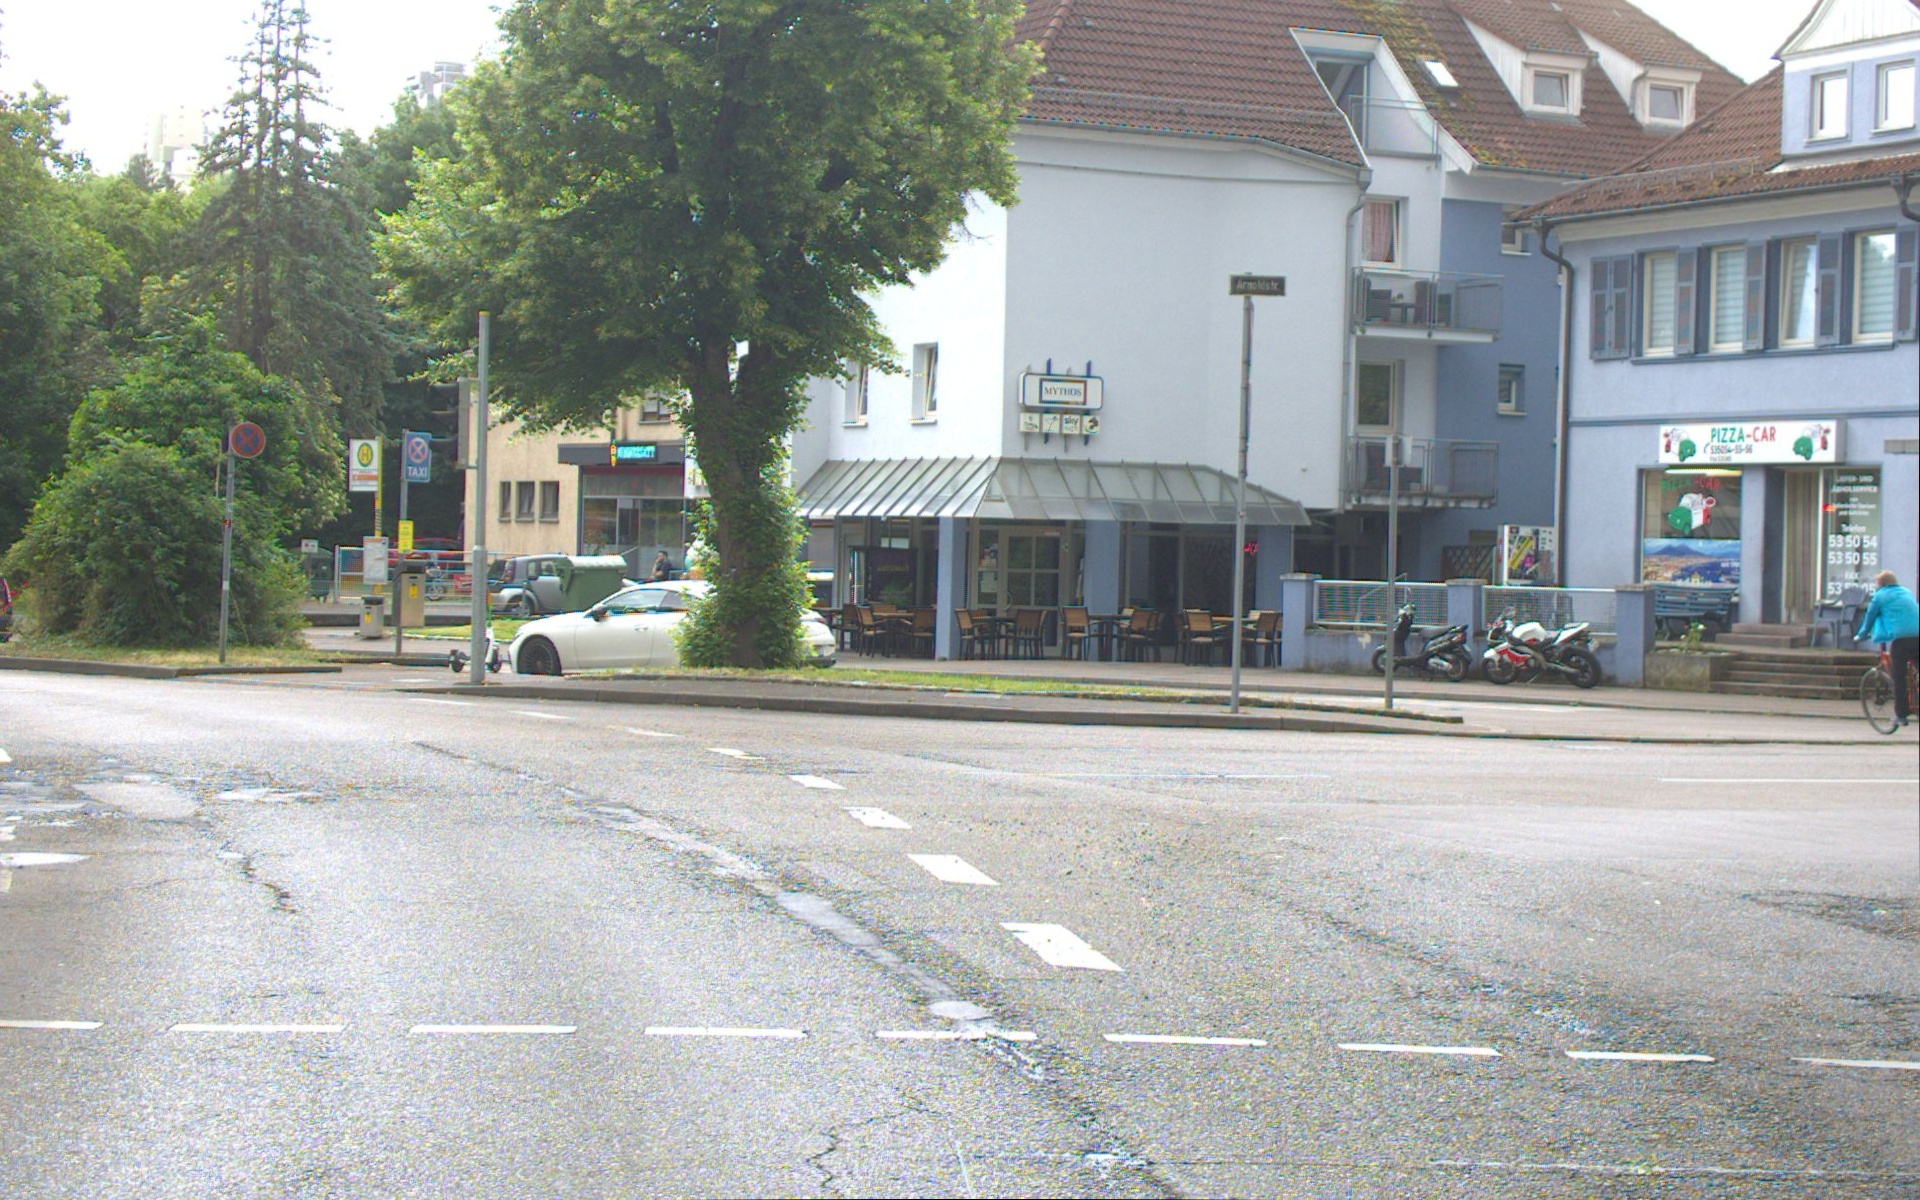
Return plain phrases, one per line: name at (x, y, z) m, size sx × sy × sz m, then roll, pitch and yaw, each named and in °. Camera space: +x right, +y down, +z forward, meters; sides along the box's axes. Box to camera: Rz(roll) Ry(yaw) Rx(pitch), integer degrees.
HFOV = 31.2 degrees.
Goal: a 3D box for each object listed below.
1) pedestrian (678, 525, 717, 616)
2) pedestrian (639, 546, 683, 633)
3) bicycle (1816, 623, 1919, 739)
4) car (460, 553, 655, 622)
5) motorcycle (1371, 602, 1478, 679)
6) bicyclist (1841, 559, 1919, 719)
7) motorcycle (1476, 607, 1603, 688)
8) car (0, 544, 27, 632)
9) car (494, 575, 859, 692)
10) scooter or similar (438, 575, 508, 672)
pedestrian at (-4.523, -0.503, 59.256) m, size 0.543 × 1.554 × 0.467 m, roll 0°, pitch 0°, yaw 13°
pedestrian at (-7.035, -0.251, 80.820) m, size 0.837 × 2.007 × 1.056 m, roll 1°, pitch 1°, yaw -14°
bicycle at (9.954, 0.846, 36.389) m, size 0.873 × 1.145 × 1.953 m, roll 1°, pitch 1°, yaw -15°
car at (-8.860, -0.278, 75.632) m, size 3.936 × 1.437 × 1.753 m, roll 1°, pitch 1°, yaw -20°
motorcycle at (6.772, 0.587, 50.137) m, size 1.458 × 1.085 × 0.523 m, roll 1°, pitch 1°, yaw 35°
bicyclist at (9.976, 0.405, 36.278) m, size 0.915 × 1.646 × 0.989 m, roll 1°, pitch 1°, yaw -15°
motorcycle at (8.148, 0.658, 48.367) m, size 1.628 × 1.085 × 0.626 m, roll 1°, pitch 1°, yaw 32°
car at (-16.421, -0.223, 53.523) m, size 3.322 × 1.347 × 1.778 m, roll 1°, pitch 1°, yaw 27°
car at (-3.806, 0.416, 45.764) m, size 4.709 × 1.405 × 1.898 m, roll 2°, pitch 1°, yaw 35°
scooter or similar at (-6.031, 0.279, 42.619) m, size 0.442 × 1.171 × 1.437 m, roll 1°, pitch 1°, yaw 9°
